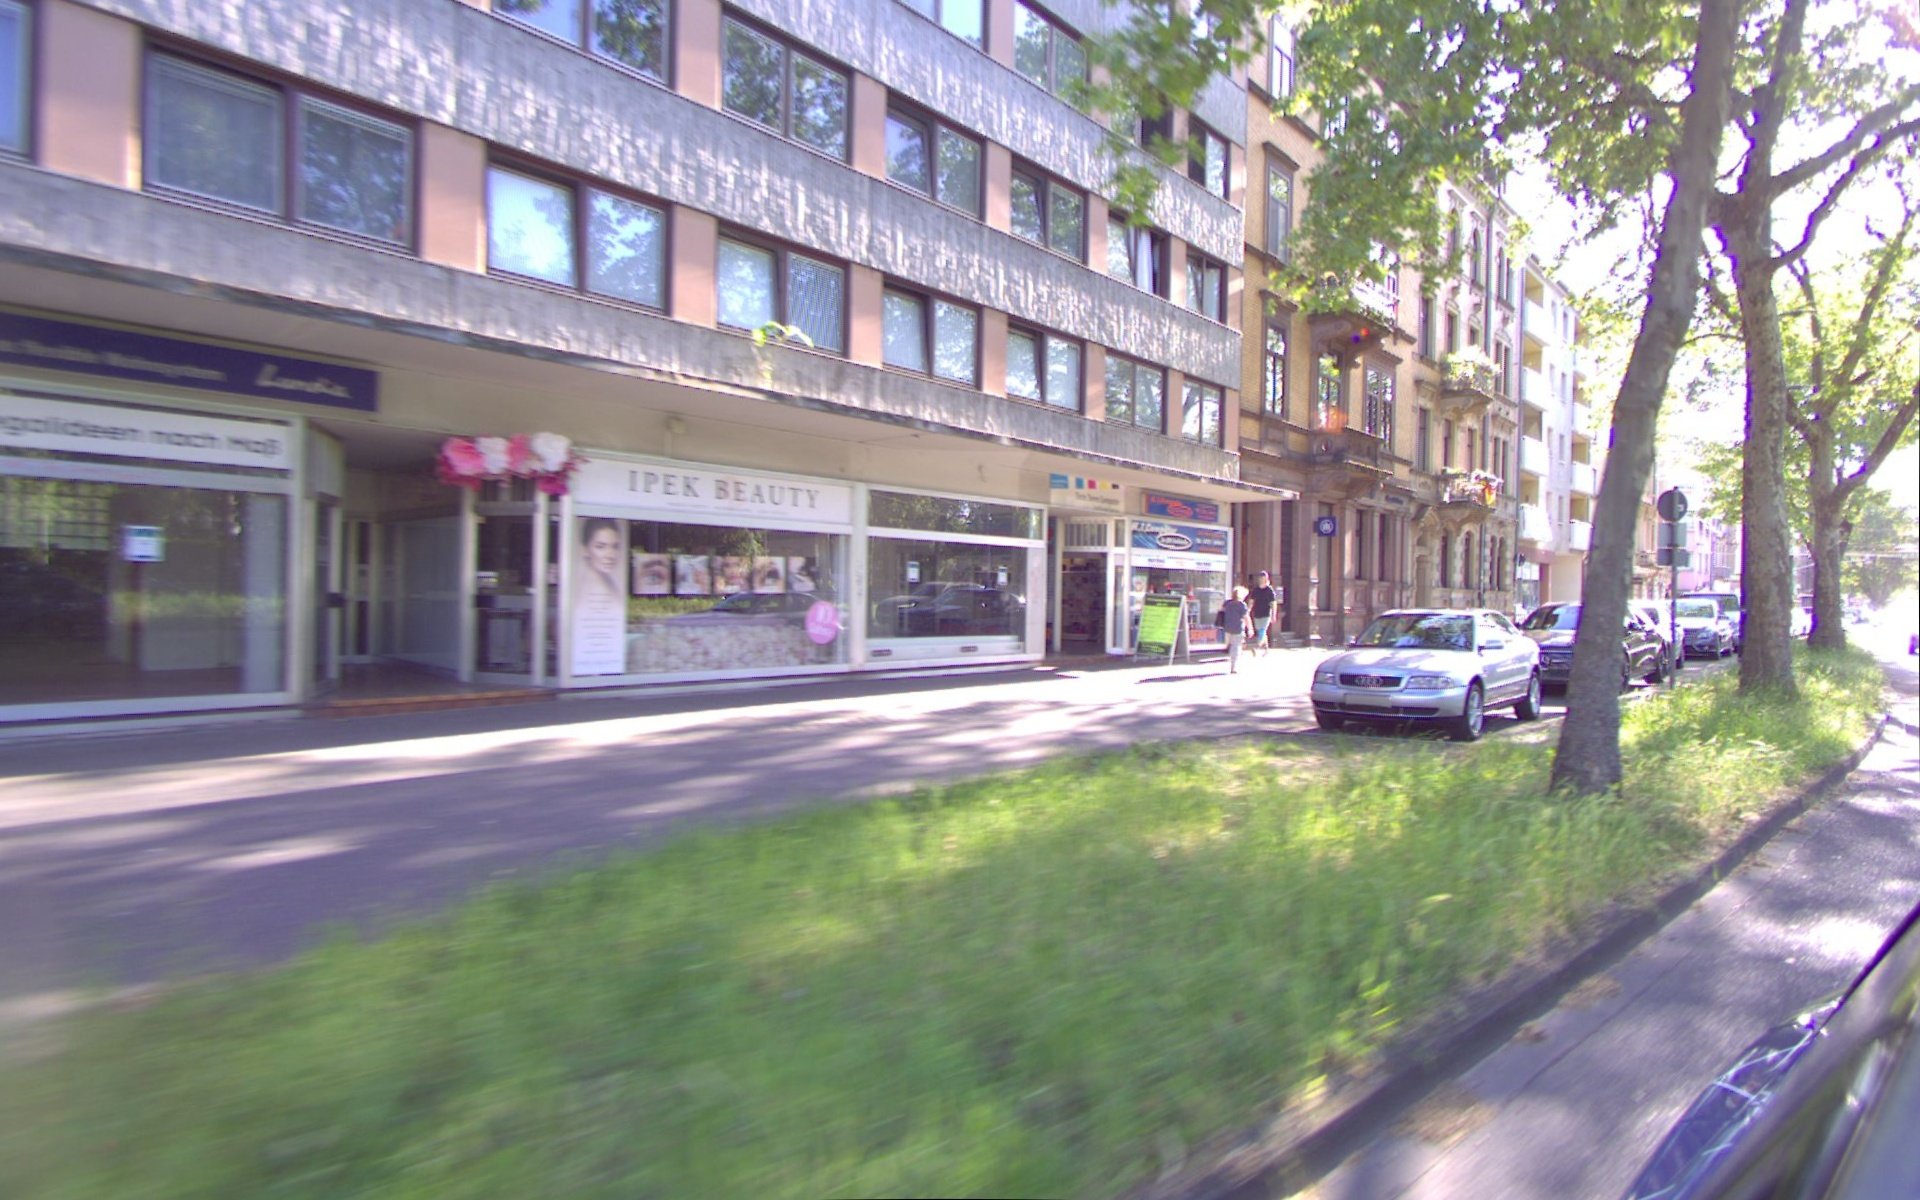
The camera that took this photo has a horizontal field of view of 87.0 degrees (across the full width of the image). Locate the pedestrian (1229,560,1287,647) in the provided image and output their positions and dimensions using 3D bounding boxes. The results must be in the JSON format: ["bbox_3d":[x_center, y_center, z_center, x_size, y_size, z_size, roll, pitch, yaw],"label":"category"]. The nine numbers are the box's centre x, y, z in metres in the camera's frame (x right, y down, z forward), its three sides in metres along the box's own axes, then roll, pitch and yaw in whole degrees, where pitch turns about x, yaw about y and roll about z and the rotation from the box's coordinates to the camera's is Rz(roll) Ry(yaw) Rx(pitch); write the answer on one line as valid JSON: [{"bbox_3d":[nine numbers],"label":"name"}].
[{"bbox_3d":[6.519,0.064,22.162,0.703,1.863,1.000,0,0,-44],"label":"pedestrian"}]

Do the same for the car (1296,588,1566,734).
[{"bbox_3d":[5.843,0.625,12.257,1.699,1.442,4.447,-2,-1,43],"label":"car"}]

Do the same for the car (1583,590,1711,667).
[{"bbox_3d":[15.128,0.556,22.184,1.676,1.485,4.598,-2,-1,42],"label":"car"}]

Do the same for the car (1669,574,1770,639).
[{"bbox_3d":[23.213,0.205,30.858,1.865,1.839,4.722,-2,-1,44],"label":"car"}]

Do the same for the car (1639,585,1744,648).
[{"bbox_3d":[19.478,0.406,26.879,1.704,1.521,4.289,-2,-1,43],"label":"car"}]

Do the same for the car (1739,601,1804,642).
[{"bbox_3d":[31.504,0.798,39.251,3.725,1.504,1.562,0,-1,-45],"label":"car"}]

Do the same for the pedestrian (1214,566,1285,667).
[{"bbox_3d":[5.268,0.300,18.425,0.999,1.783,0.704,-2,-2,44],"label":"pedestrian"}]

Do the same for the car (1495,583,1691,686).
[{"bbox_3d":[10.857,0.495,17.196,1.806,1.509,4.840,-2,-1,45],"label":"car"}]
